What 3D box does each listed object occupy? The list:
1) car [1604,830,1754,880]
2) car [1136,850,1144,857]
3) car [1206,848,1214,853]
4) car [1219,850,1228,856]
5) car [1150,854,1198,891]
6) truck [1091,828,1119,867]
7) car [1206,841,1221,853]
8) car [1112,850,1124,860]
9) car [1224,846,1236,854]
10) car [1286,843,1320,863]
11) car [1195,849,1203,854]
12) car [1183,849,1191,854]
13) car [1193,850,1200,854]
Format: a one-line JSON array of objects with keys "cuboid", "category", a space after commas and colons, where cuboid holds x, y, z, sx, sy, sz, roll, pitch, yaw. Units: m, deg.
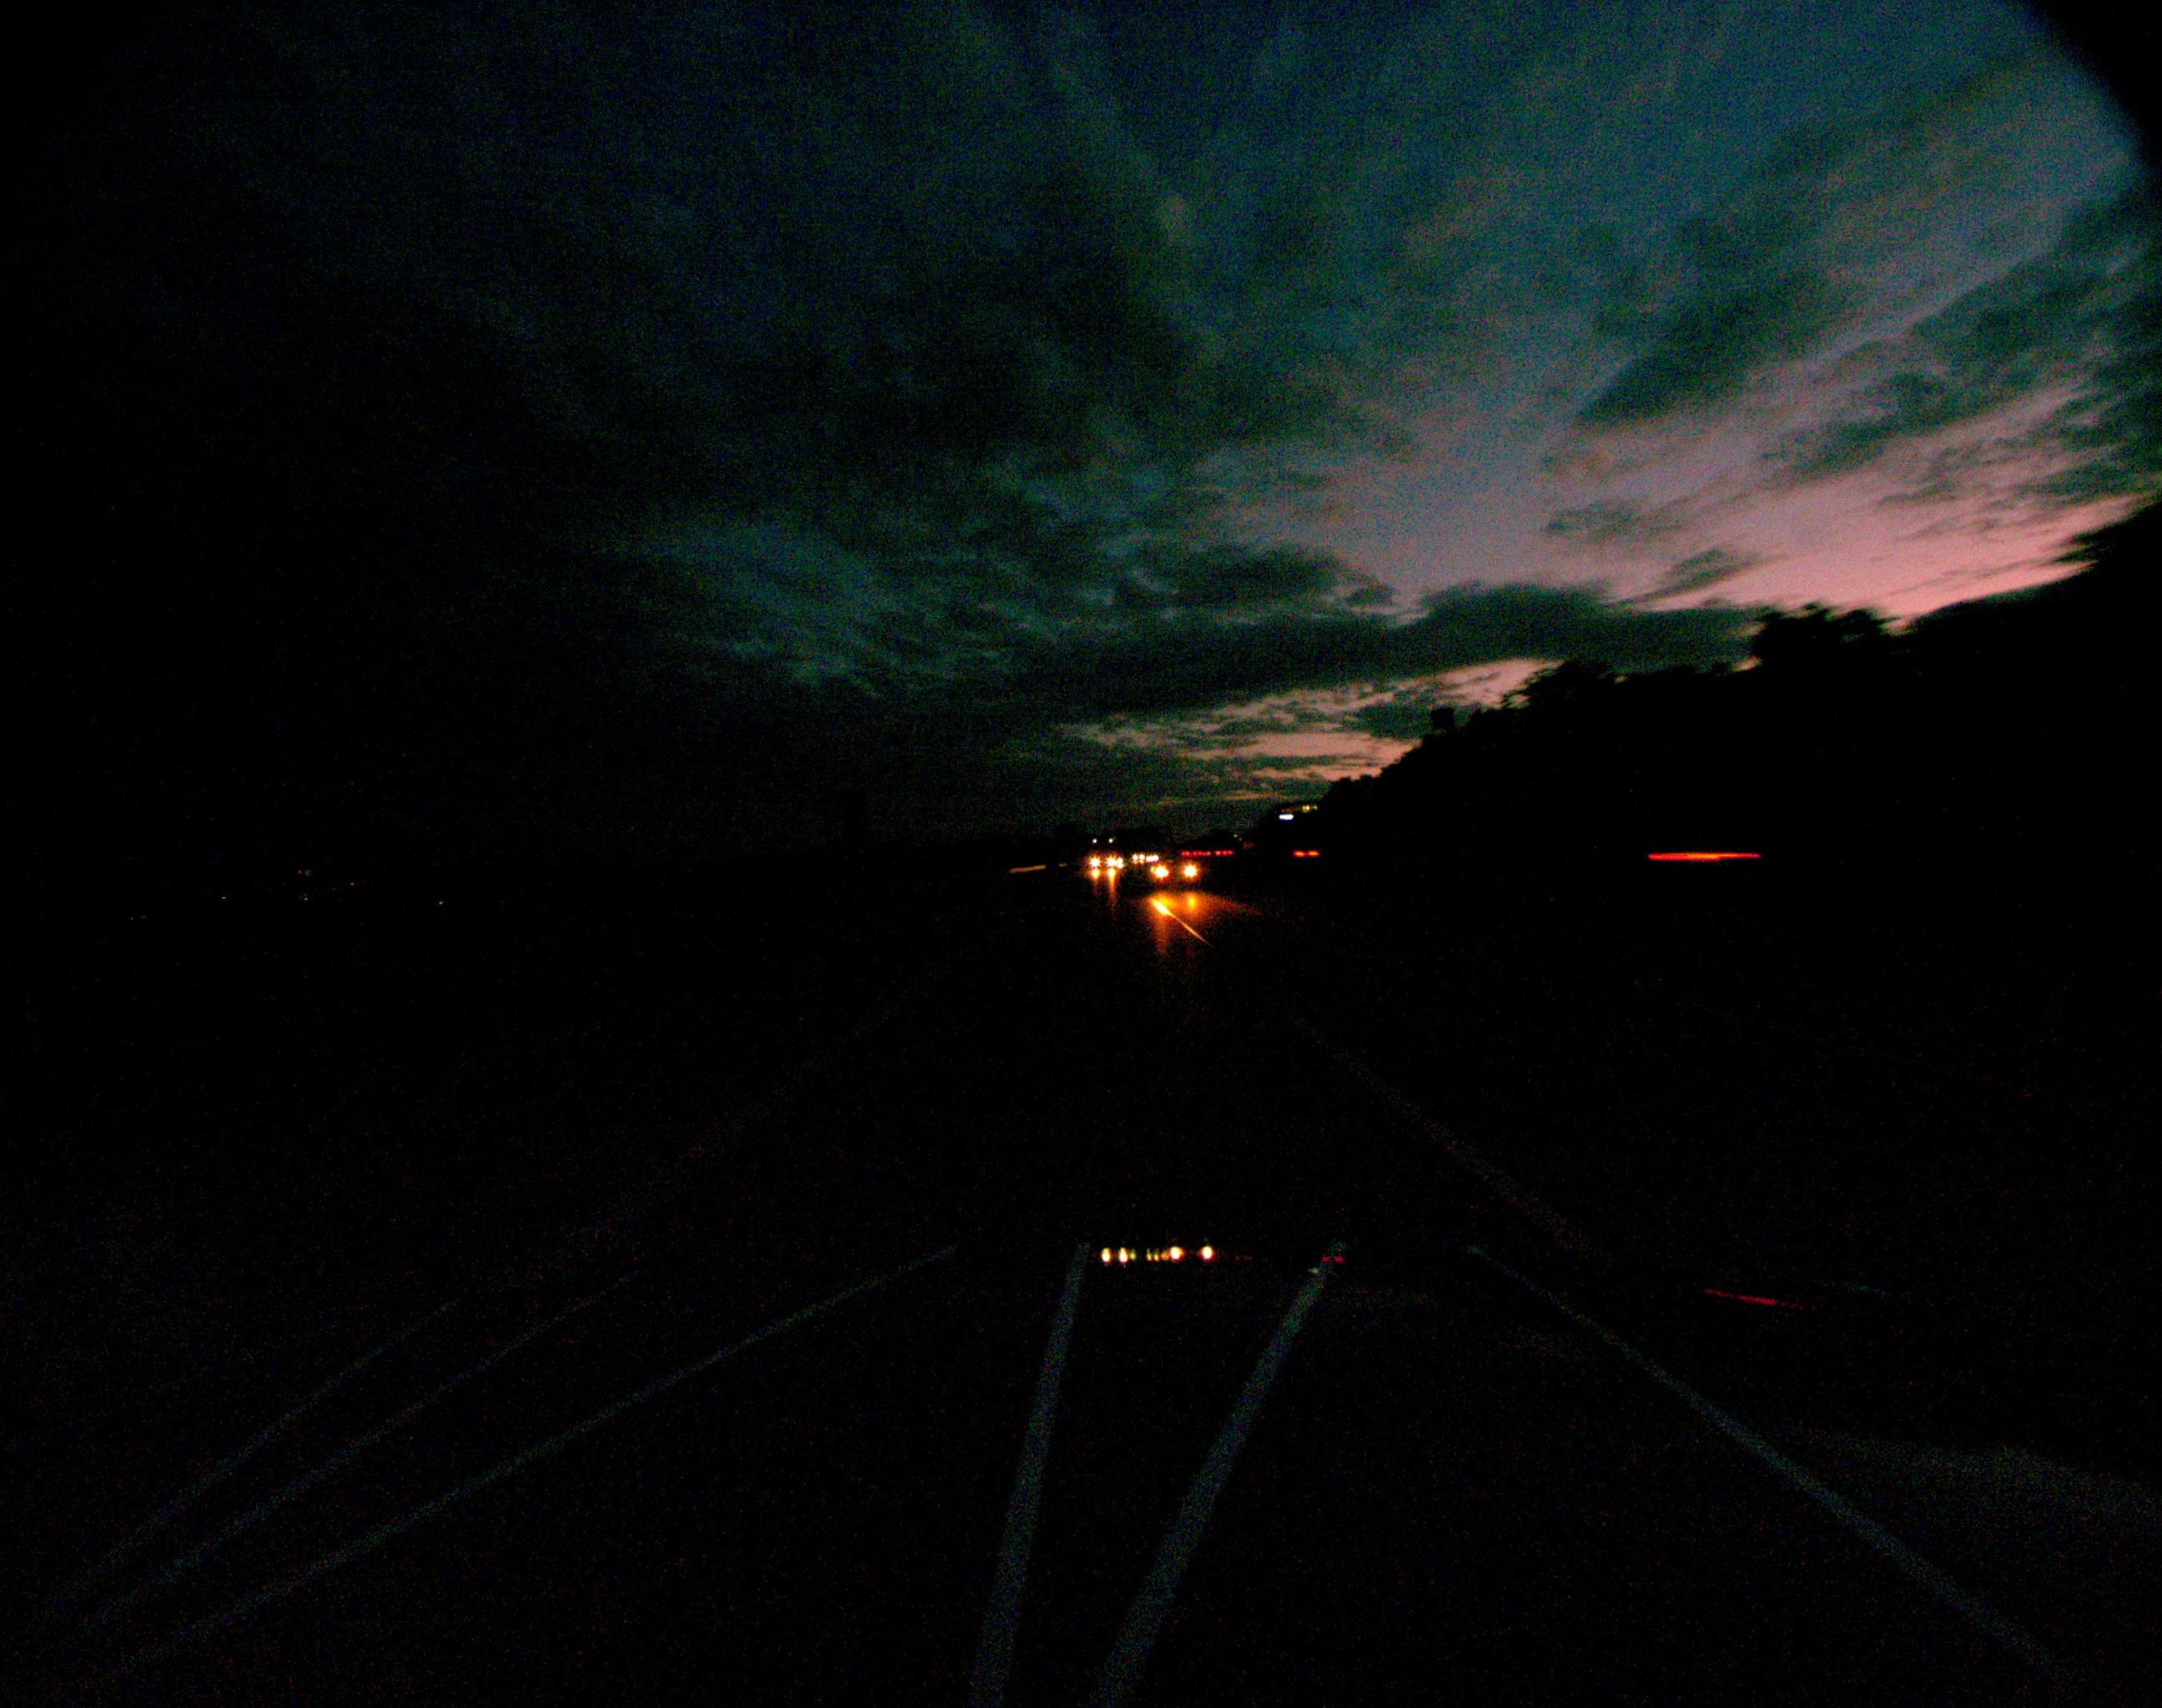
[{"cuboid": [19.777, 0.011, 25.366, 1.998, 1.445, 3.834, -3, 1, 1], "category": "car"}, {"cuboid": [14.060, -0.075, 180.314, 1.652, 1.654, 3.776, -2, 1, 6], "category": "car"}, {"cuboid": [41.252, -1.074, 243.337, 1.998, 1.393, 5.024, -3, 0, 4], "category": "car"}, {"cuboid": [38.350, -0.282, 204.563, 1.998, 1.451, 4.237, -3, 1, 4], "category": "car"}, {"cuboid": [4.087, 0.778, 33.920, 1.717, 1.471, 4.000, -3, 1, 2], "category": "car"}, {"cuboid": [3.086, -0.791, 94.261, 3.026, 4.372, 11.617, -3, 1, 3], "category": "truck"}, {"cuboid": [28.266, -1.546, 162.267, 2.331, 2.417, 7.095, -3, 0, 4], "category": "car"}, {"cuboid": [6.900, 0.256, 142.016, 1.998, 1.715, 4.001, -2, 1, 6], "category": "car"}, {"cuboid": [33.859, -0.936, 173.234, 1.998, 1.683, 4.971, -3, 0, 4], "category": "car"}, {"cuboid": [21.595, -0.091, 74.121, 1.998, 1.780, 4.840, -3, 1, 1], "category": "car"}, {"cuboid": [36.474, -0.763, 234.779, 1.998, 1.496, 4.559, -3, 0, 4], "category": "car"}, {"cuboid": [35.374, -0.814, 253.654, 1.998, 1.725, 5.052, -3, 1, 4], "category": "car"}, {"cuboid": [38.227, -0.703, 252.141, 1.998, 1.464, 5.024, -3, 0, 4], "category": "car"}]
